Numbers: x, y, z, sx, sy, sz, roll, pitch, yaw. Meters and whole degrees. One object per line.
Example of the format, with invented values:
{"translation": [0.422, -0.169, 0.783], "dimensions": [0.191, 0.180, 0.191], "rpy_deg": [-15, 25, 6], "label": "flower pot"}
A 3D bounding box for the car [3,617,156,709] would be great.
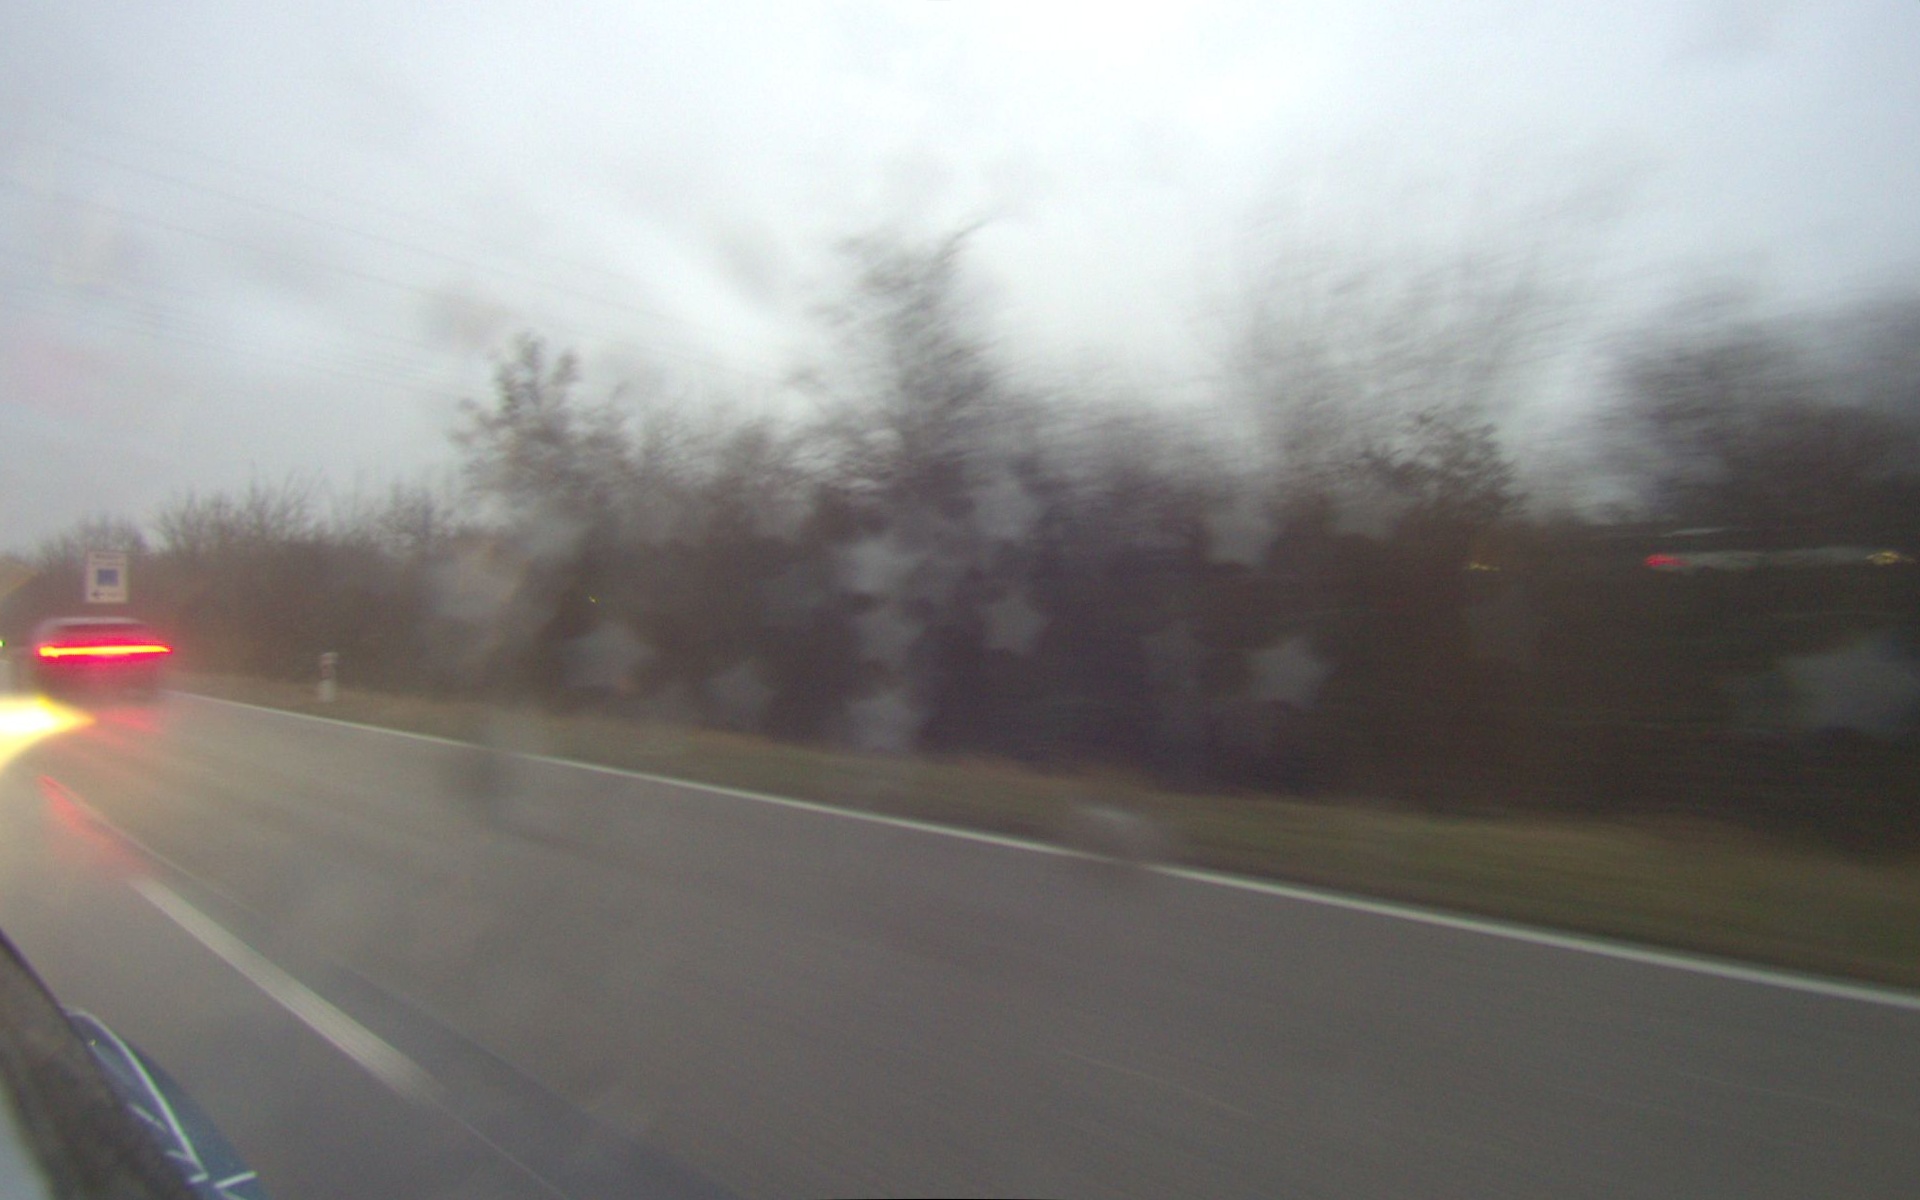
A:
{"translation": [-17.450, 1.184, 19.990], "dimensions": [4.162, 1.603, 1.751], "rpy_deg": [-2, -1, 41], "label": "car"}
